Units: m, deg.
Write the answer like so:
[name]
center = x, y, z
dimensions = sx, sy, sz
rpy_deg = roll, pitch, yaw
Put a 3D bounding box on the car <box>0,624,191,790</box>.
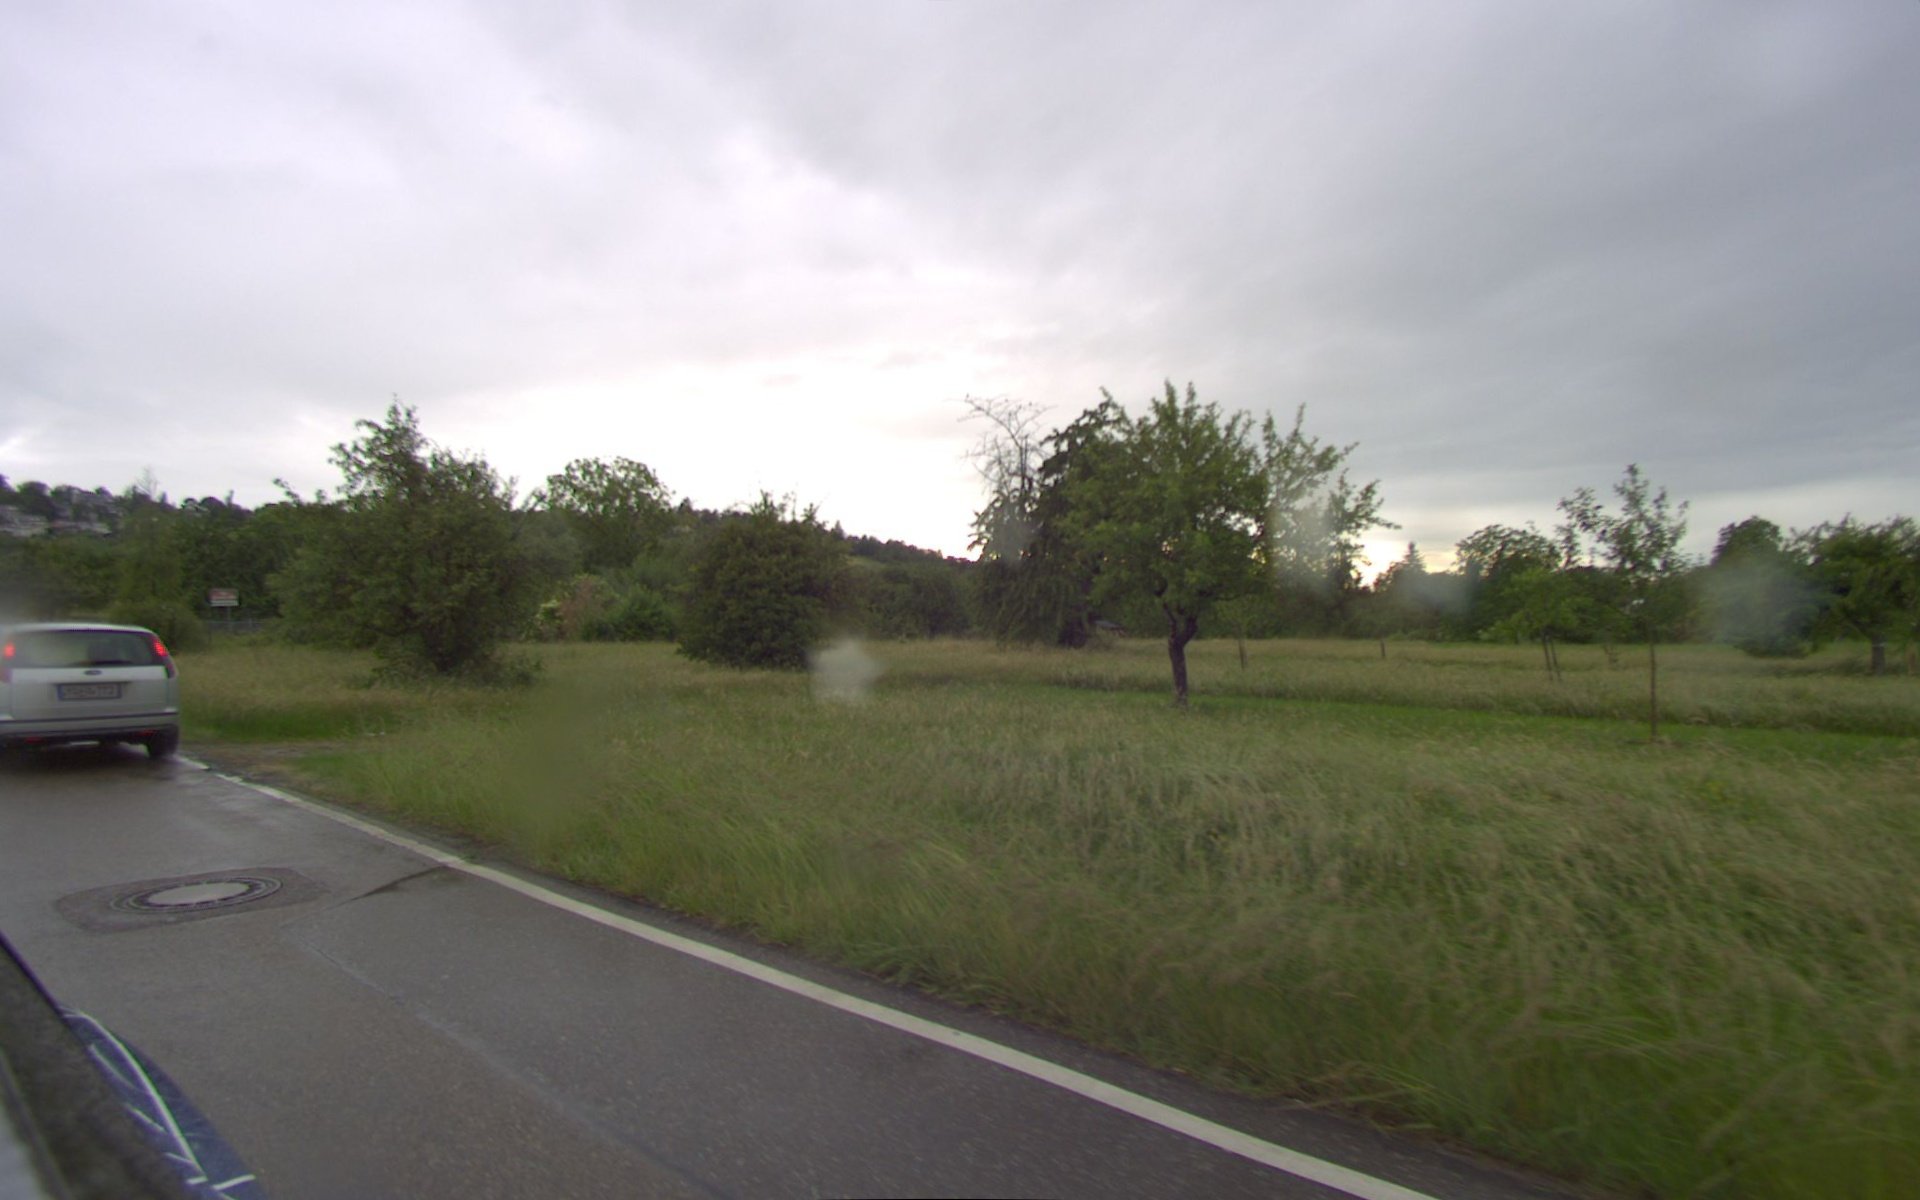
[car]
center = -10.299, 1.064, 11.416
dimensions = 4.119, 1.482, 1.722
rpy_deg = 0, 0, 40
